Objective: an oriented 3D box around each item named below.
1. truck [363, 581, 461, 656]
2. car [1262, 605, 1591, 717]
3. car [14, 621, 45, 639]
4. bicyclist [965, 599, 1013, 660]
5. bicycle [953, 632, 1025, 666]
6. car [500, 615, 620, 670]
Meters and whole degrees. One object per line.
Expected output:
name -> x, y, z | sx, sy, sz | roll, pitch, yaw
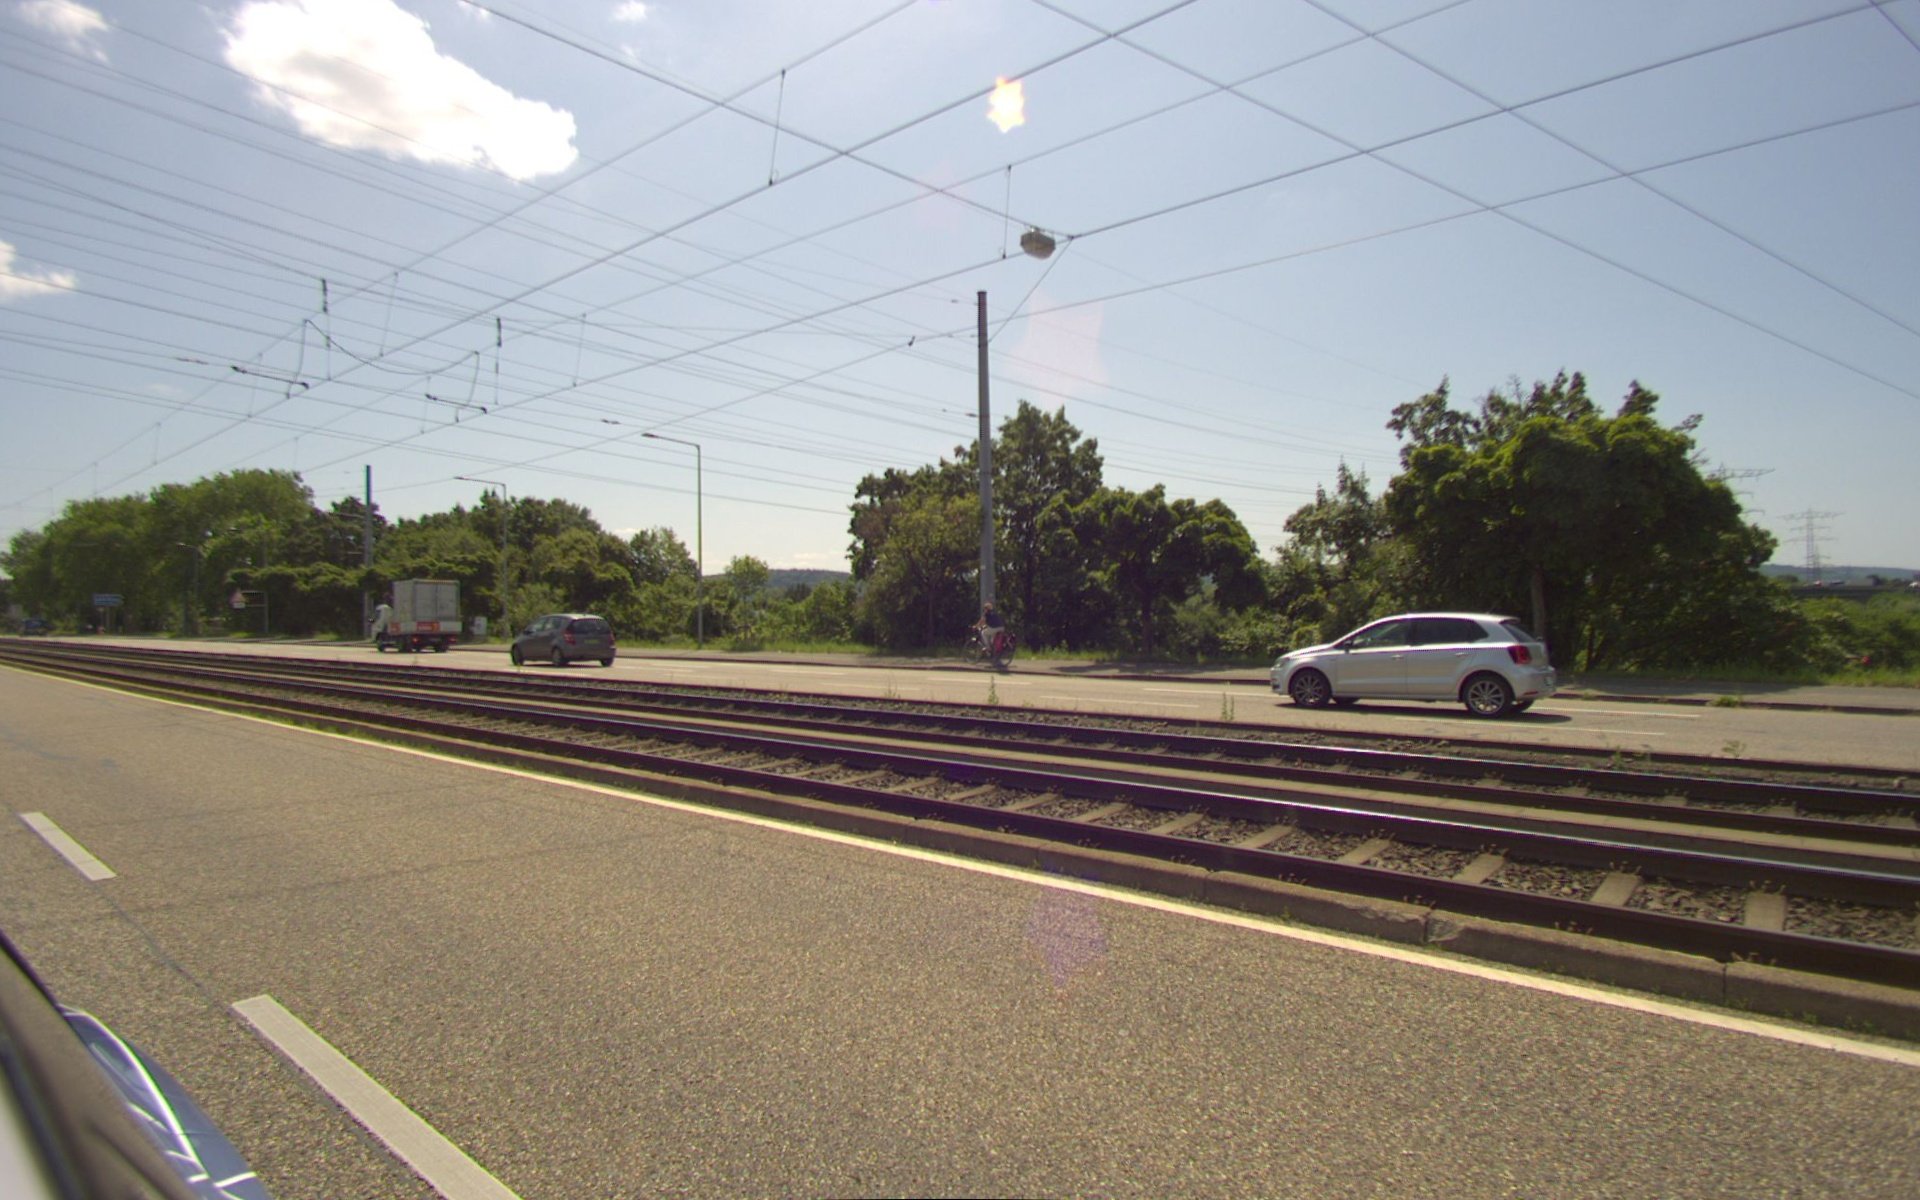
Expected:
truck -> -25.757, 0.889, 47.452 | 6.041, 3.261, 2.225 | -2, -2, 43
car -> 6.759, 0.846, 14.954 | 4.126, 1.432, 1.619 | -2, -2, 42
car -> -99.968, 3.249, 108.721 | 5.005, 1.942, 1.838 | -2, -3, 41
bicyclist -> 0.799, 0.818, 27.957 | 1.156, 1.632, 0.643 | -2, 0, 45
bicycle -> 0.786, 1.334, 27.981 | 0.643, 0.866, 2.121 | -2, 0, -45
car -> -12.244, 1.275, 30.872 | 3.954, 1.547, 1.734 | -2, -2, 40
